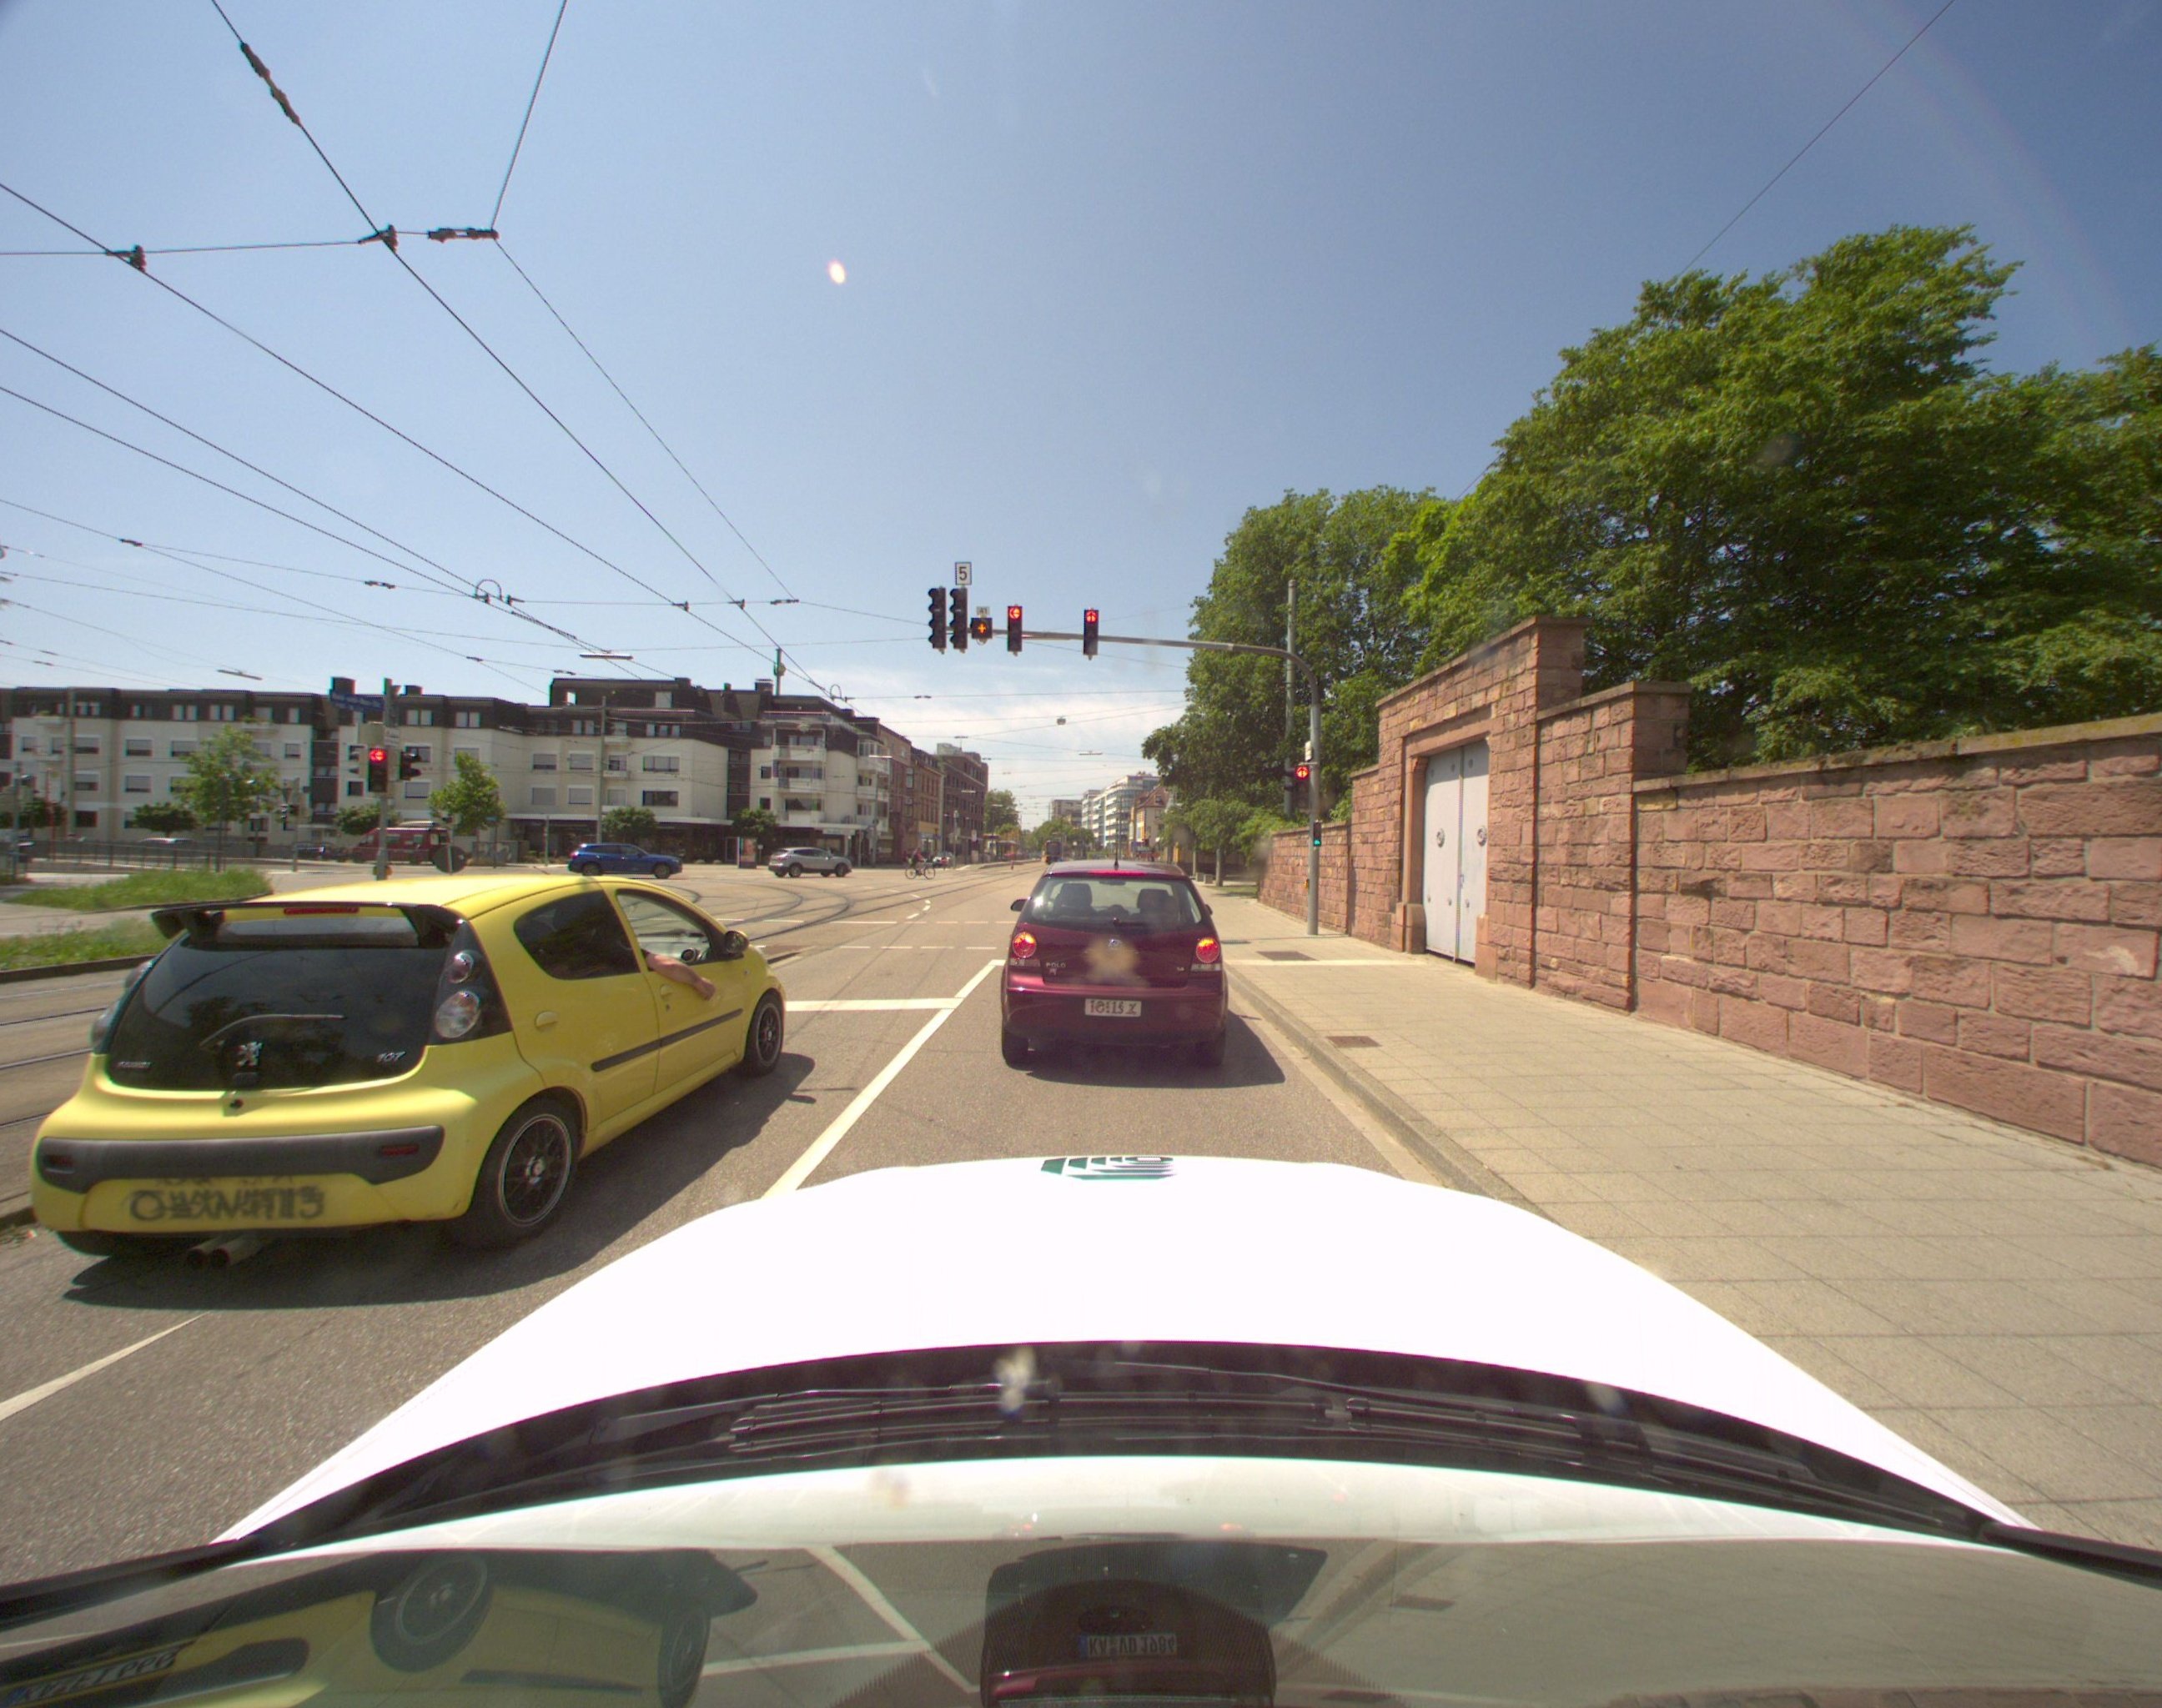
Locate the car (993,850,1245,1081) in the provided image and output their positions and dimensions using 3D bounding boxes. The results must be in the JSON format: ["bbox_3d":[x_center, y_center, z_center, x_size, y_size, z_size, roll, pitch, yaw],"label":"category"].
[{"bbox_3d":[0.268,0.724,7.303,1.604,1.463,4.085,1,0,0],"label":"car"}]

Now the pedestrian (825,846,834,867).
[{"bbox_3d":[-21.667,0.237,70.119,0.614,1.754,0.499,1,-2,-43],"label":"pedestrian"}]

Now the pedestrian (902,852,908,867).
[{"bbox_3d":[-18.067,0.583,83.440,0.481,1.541,0.539,0,-1,4],"label":"pedestrian"}]

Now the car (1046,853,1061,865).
[{"bbox_3d":[-3.847,0.740,116.248,1.931,1.641,4.000,0,-1,1],"label":"car"}]

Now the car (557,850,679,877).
[{"bbox_3d":[-21.494,0.434,38.058,4.792,1.237,1.923,0,-1,-25],"label":"car"}]

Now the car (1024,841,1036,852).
[{"bbox_3d":[-9.646,-1.348,153.876,1.728,2.013,4.002,1,0,2],"label":"car"}]

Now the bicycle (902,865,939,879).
[{"bbox_3d":[-8.960,1.003,45.494,1.996,0.783,0.461,0,-1,-38],"label":"bicycle"}]

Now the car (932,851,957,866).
[{"bbox_3d":[-13.760,0.453,82.256,1.682,1.462,4.003,1,0,3],"label":"car"}]

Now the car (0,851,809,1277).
[{"bbox_3d":[-2.949,0.727,4.484,1.717,1.445,3.293,-1,0,1],"label":"car"}]

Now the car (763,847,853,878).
[{"bbox_3d":[-14.533,0.460,43.538,1.915,1.584,4.177,-1,-1,41],"label":"car"}]

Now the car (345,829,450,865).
[{"bbox_3d":[-45.491,-0.421,54.316,5.048,2.341,2.244,0,-1,0],"label":"car"}]

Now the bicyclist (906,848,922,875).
[{"bbox_3d":[-9.272,0.417,45.273,0.756,1.501,0.476,0,-1,-38],"label":"bicyclist"}]

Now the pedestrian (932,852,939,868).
[{"bbox_3d":[-16.227,0.683,90.778,0.659,1.787,0.815,1,0,1],"label":"pedestrian"}]
